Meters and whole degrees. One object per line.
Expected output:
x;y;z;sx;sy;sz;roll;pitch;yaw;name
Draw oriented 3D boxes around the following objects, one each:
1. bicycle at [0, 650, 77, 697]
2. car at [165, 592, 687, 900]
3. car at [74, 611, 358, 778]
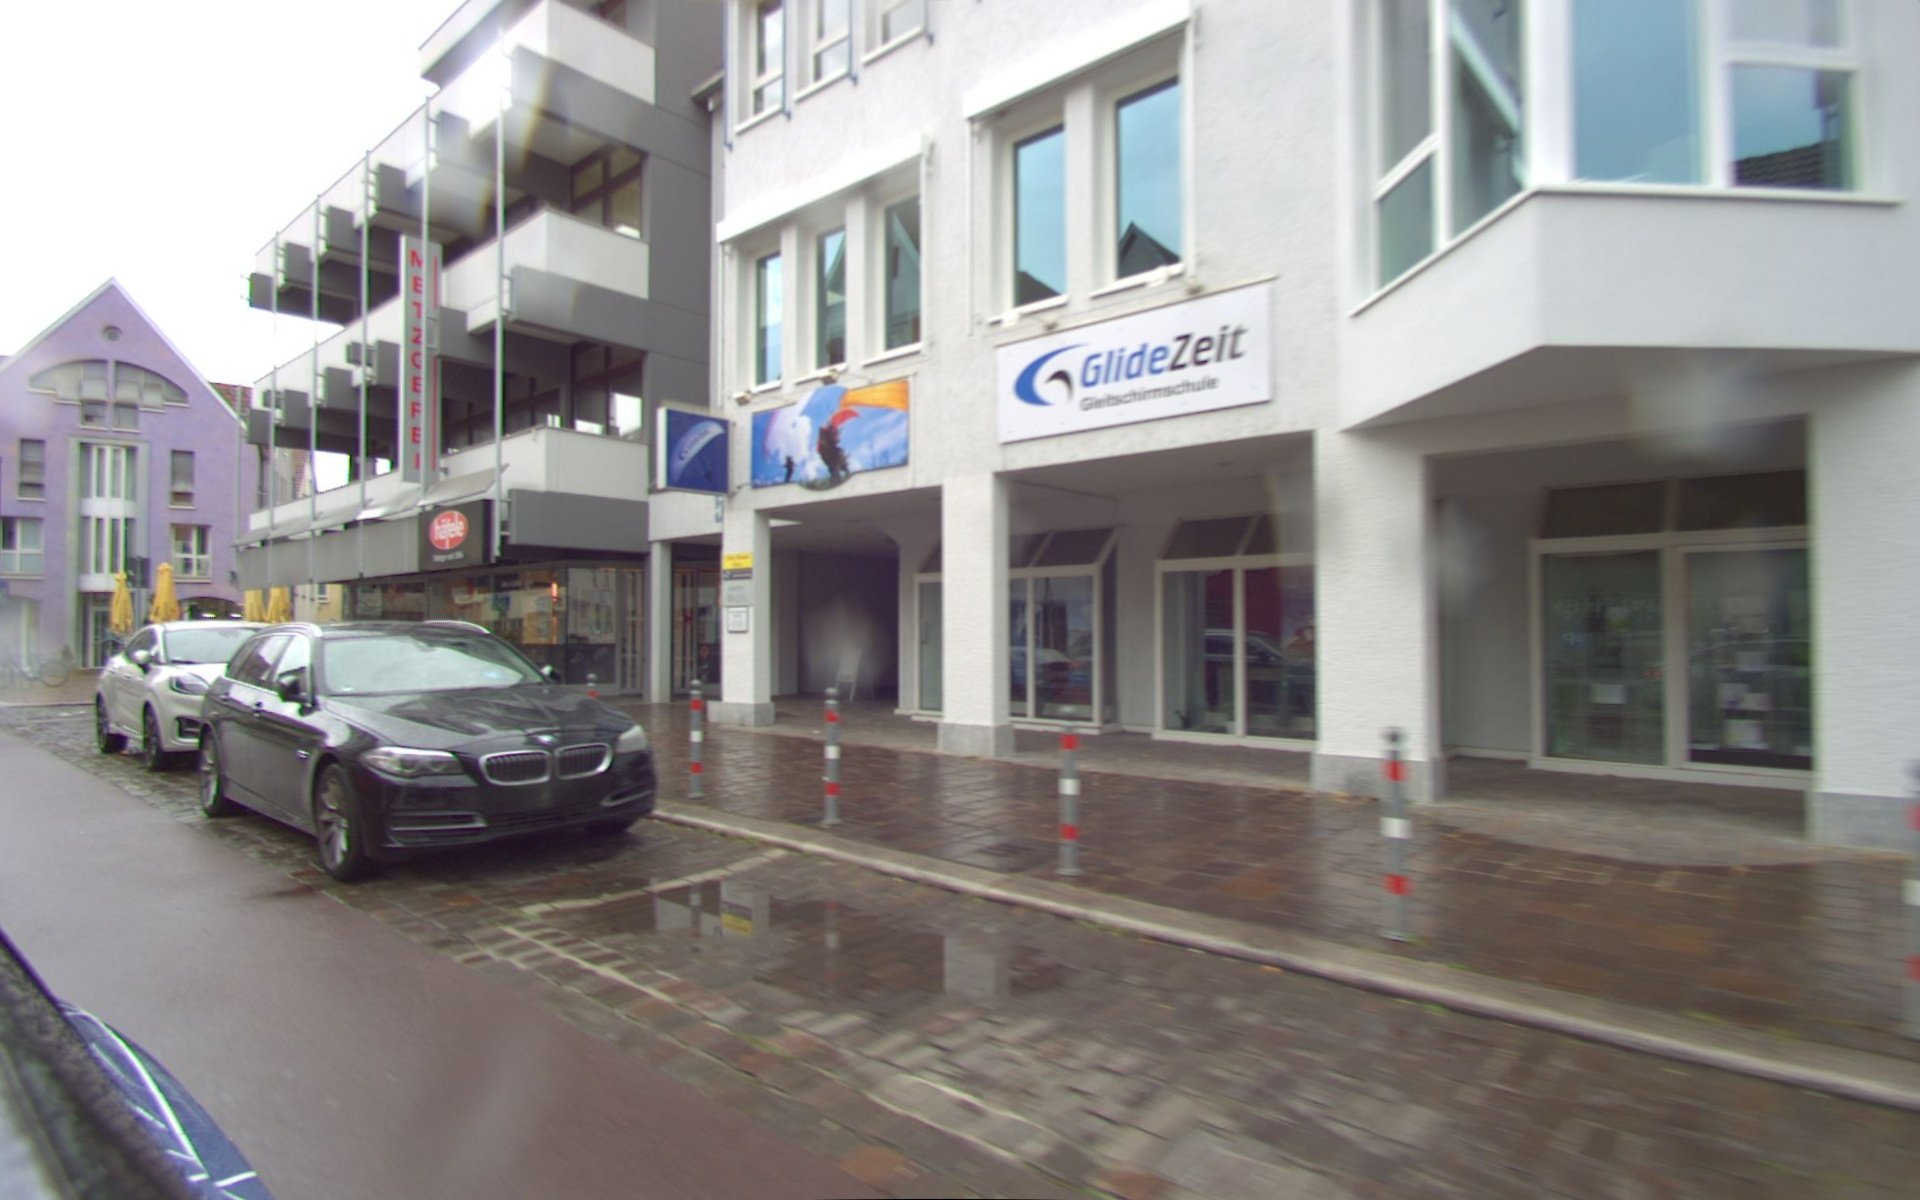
-25.182;1.970;27.535;0.441;1.173;1.739;0;-1;21;bicycle
-4.076;0.810;7.284;4.763;1.510;1.811;-2;-3;43;car
-8.594;0.969;11.568;3.998;1.562;1.773;-3;-2;41;car
